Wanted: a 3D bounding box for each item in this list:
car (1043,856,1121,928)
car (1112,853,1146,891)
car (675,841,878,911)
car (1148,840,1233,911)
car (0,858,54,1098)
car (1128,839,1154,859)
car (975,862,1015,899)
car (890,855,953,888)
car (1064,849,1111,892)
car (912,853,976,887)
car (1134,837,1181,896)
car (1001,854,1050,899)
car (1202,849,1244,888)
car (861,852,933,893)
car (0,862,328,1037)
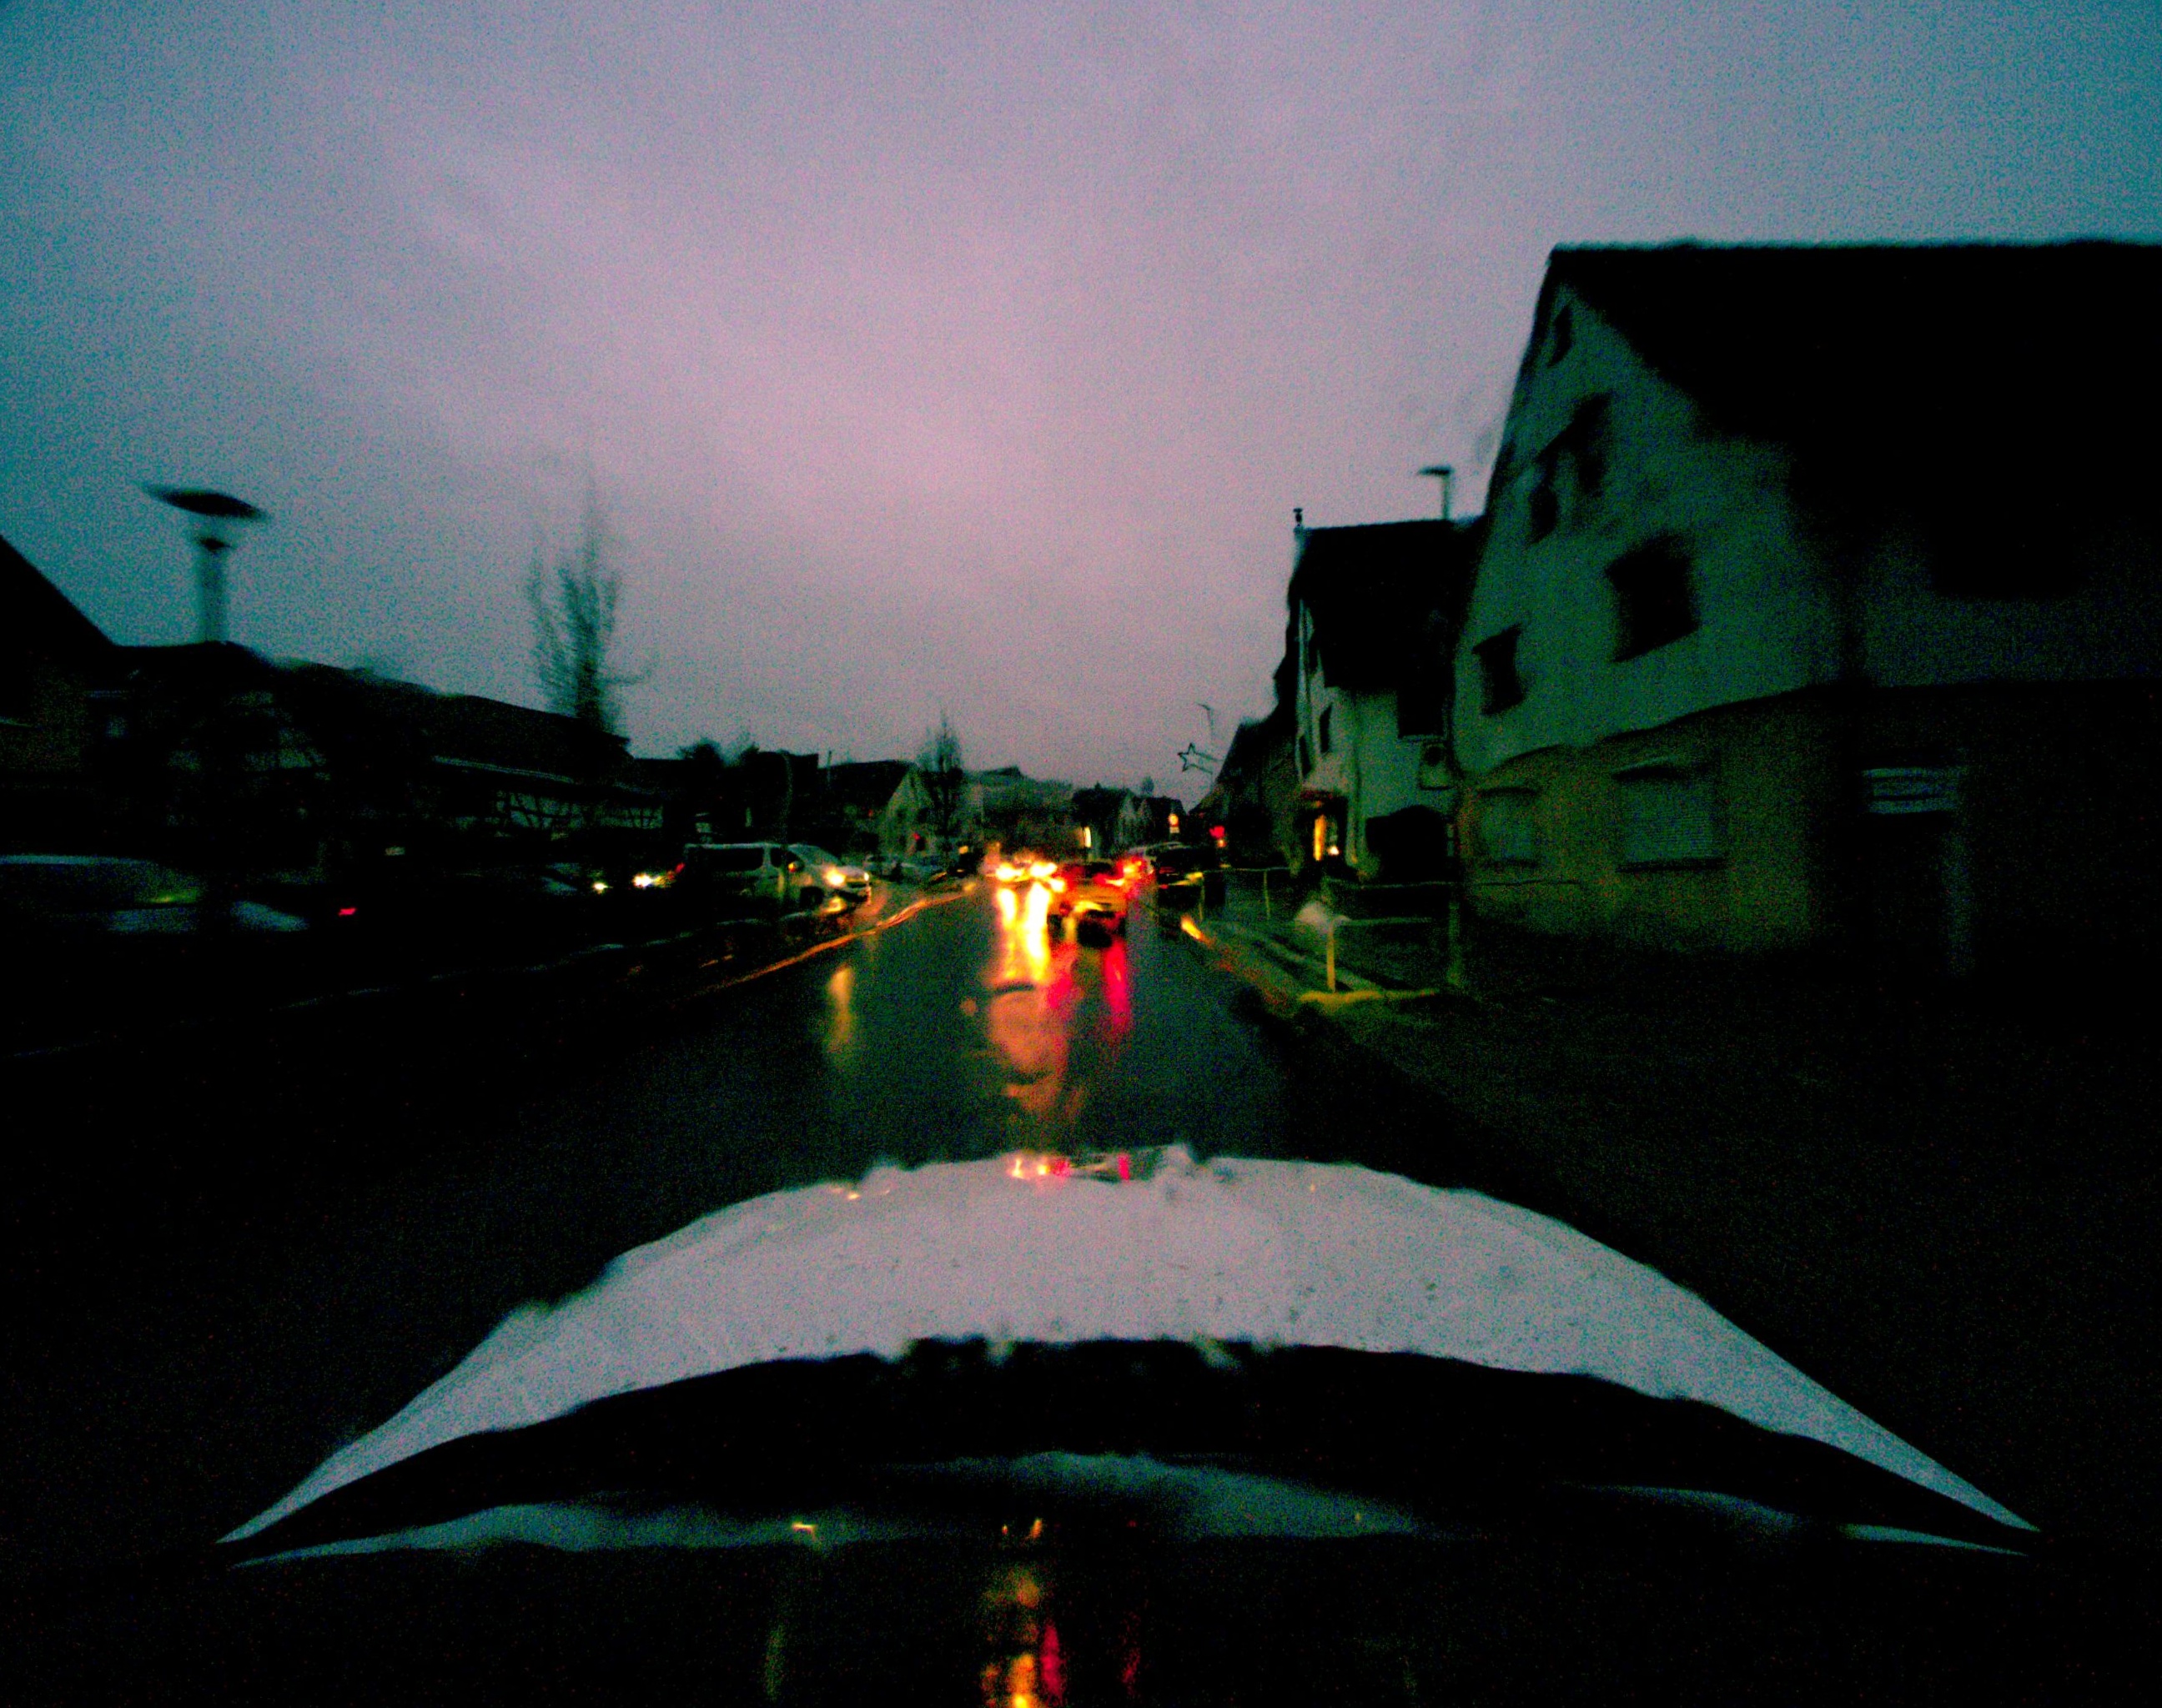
[{"bbox_3d":[0.048,0.761,17.720,1.557,1.412,3.018,0,0,1],"label":"car"},{"bbox_3d":[2.917,1.136,49.788,1.986,2.252,4.001,0,-3,2],"label":"car"},{"bbox_3d":[-8.685,0.594,23.291,5.357,1.817,1.718,1,-1,14],"label":"car"},{"bbox_3d":[3.158,0.617,24.230,1.990,1.865,4.084,-3,-1,1],"label":"car"},{"bbox_3d":[-9.534,0.869,5.184,4.147,1.644,1.660,-1,-1,5],"label":"car"},{"bbox_3d":[4.956,-0.393,66.760,1.476,1.527,3.427,0,-3,15],"label":"car"},{"bbox_3d":[-4.927,1.570,47.029,1.914,2.028,3.972,0,-3,-1],"label":"car"},{"bbox_3d":[-9.993,1.135,50.932,4.117,1.976,1.833,-2,-4,45],"label":"car"},{"bbox_3d":[0.309,0.638,33.137,1.759,1.628,3.588,0,0,3],"label":"car"},{"bbox_3d":[-9.049,1.094,53.600,4.331,2.167,2.011,-2,-4,45],"label":"car"},{"bbox_3d":[3.377,0.609,36.567,1.863,2.469,4.445,0,-3,2],"label":"car"},{"bbox_3d":[-2.665,1.132,39.921,1.986,2.112,4.001,0,-3,2],"label":"car"},{"bbox_3d":[8.475,0.902,49.000,1.985,2.249,4.002,0,-3,3],"label":"car"},{"bbox_3d":[-10.661,1.130,47.099,4.331,2.252,2.011,-2,-4,44],"label":"car"},{"bbox_3d":[-9.682,0.805,7.747,3.528,1.447,1.712,0,-1,5],"label":"car"}]
